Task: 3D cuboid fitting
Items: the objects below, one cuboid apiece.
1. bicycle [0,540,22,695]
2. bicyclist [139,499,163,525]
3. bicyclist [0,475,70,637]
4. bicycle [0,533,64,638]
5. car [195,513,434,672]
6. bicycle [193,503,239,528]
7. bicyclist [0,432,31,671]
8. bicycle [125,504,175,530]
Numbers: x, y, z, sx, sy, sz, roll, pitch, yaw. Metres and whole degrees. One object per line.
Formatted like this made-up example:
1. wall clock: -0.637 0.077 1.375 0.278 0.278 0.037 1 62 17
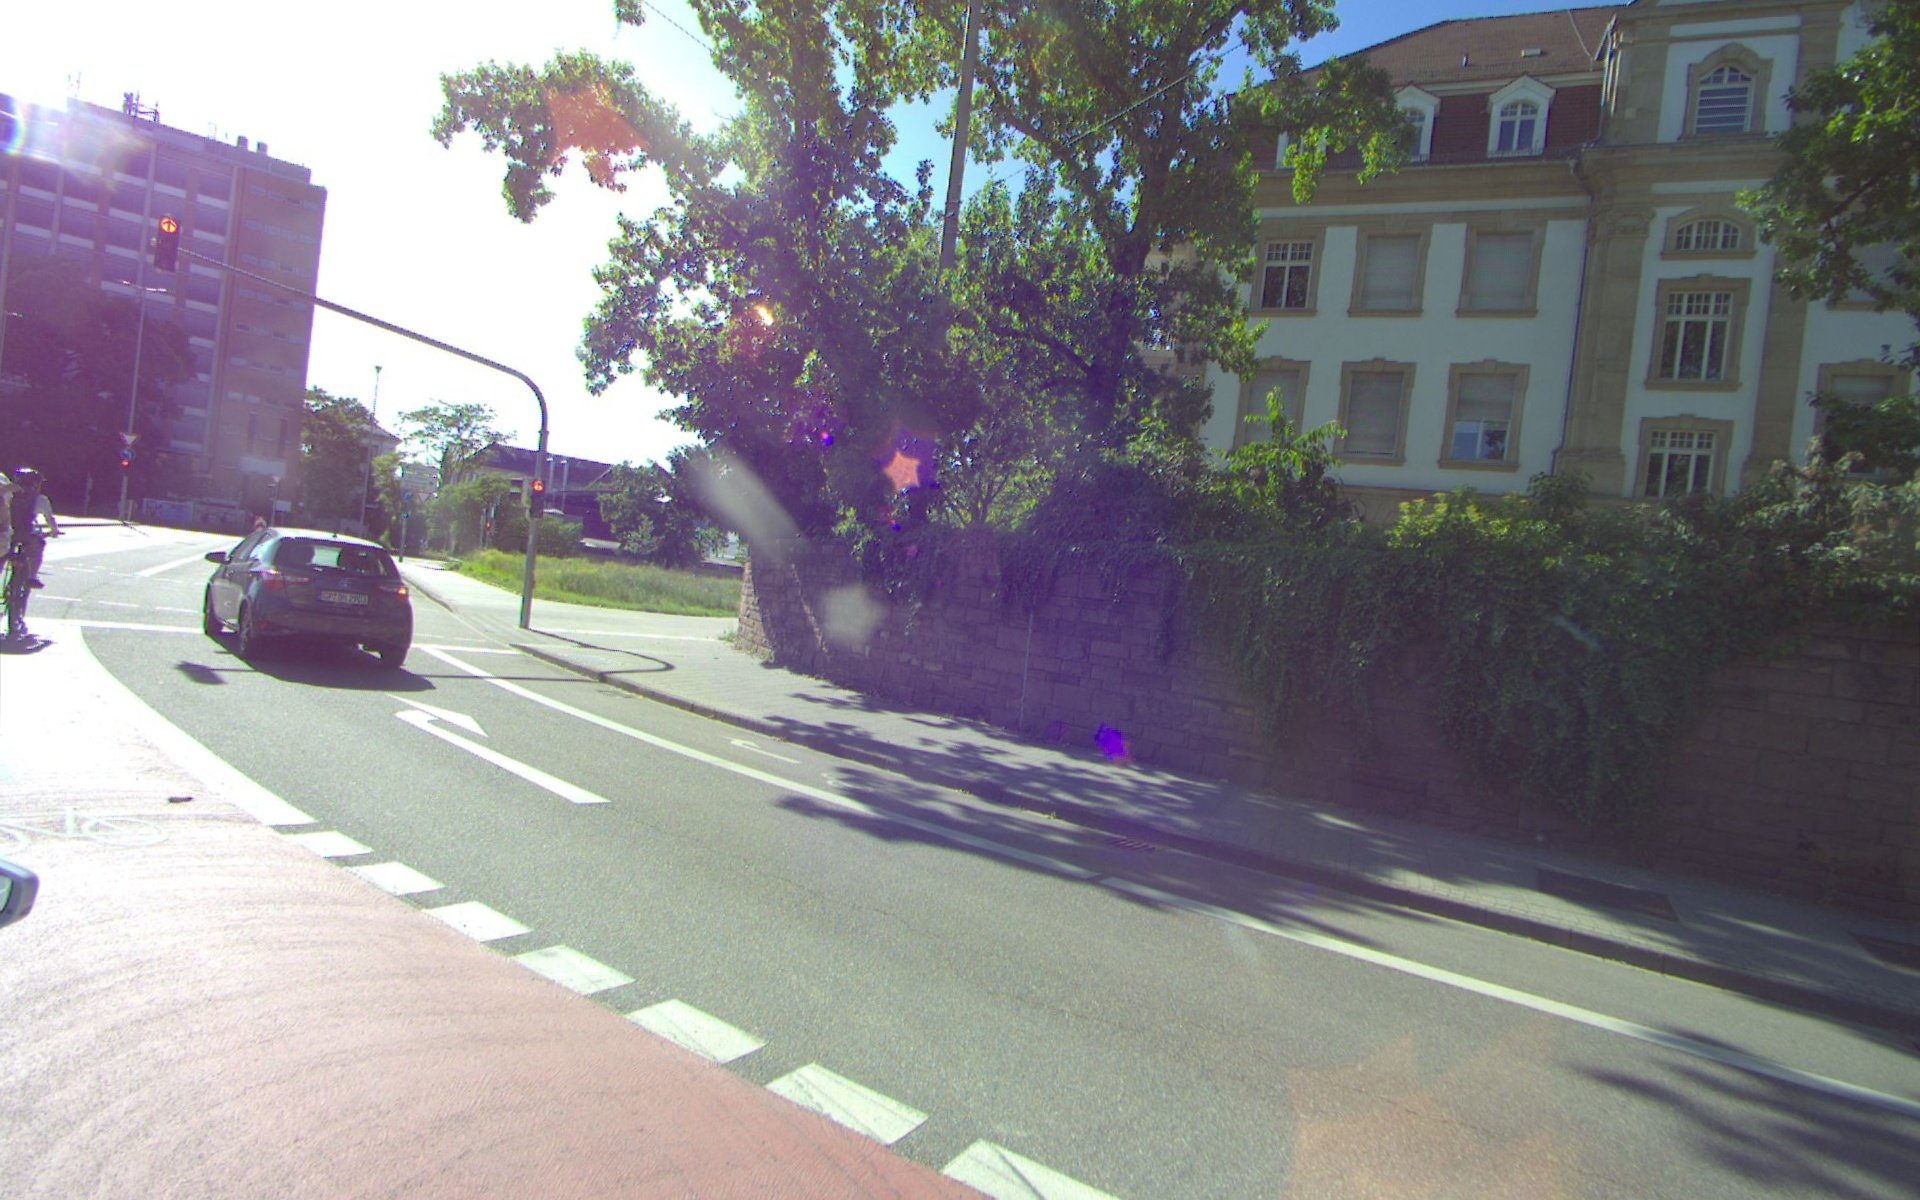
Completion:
1. bicycle: -7.794 0.055 7.710 1.864 1.060 0.661 7 0 42
2. bicyclist: -63.340 -6.895 78.764 1.148 1.818 0.878 7 -1 -30
3. bicyclist: -10.301 -0.499 10.962 0.719 1.645 1.043 8 -1 -41
4. bicycle: -10.344 -0.192 10.962 0.720 0.971 1.862 8 -1 -40
5. car: -8.221 -0.145 12.676 1.751 1.560 3.613 8 -1 -44
6. bicycle: -59.985 -6.809 81.123 2.781 1.559 0.878 8 -2 -30
7. bicyclist: -7.646 -0.416 7.625 0.992 1.768 0.662 7 0 42
8. bicycle: -63.393 -6.490 78.761 2.781 1.559 0.878 8 -2 -30
